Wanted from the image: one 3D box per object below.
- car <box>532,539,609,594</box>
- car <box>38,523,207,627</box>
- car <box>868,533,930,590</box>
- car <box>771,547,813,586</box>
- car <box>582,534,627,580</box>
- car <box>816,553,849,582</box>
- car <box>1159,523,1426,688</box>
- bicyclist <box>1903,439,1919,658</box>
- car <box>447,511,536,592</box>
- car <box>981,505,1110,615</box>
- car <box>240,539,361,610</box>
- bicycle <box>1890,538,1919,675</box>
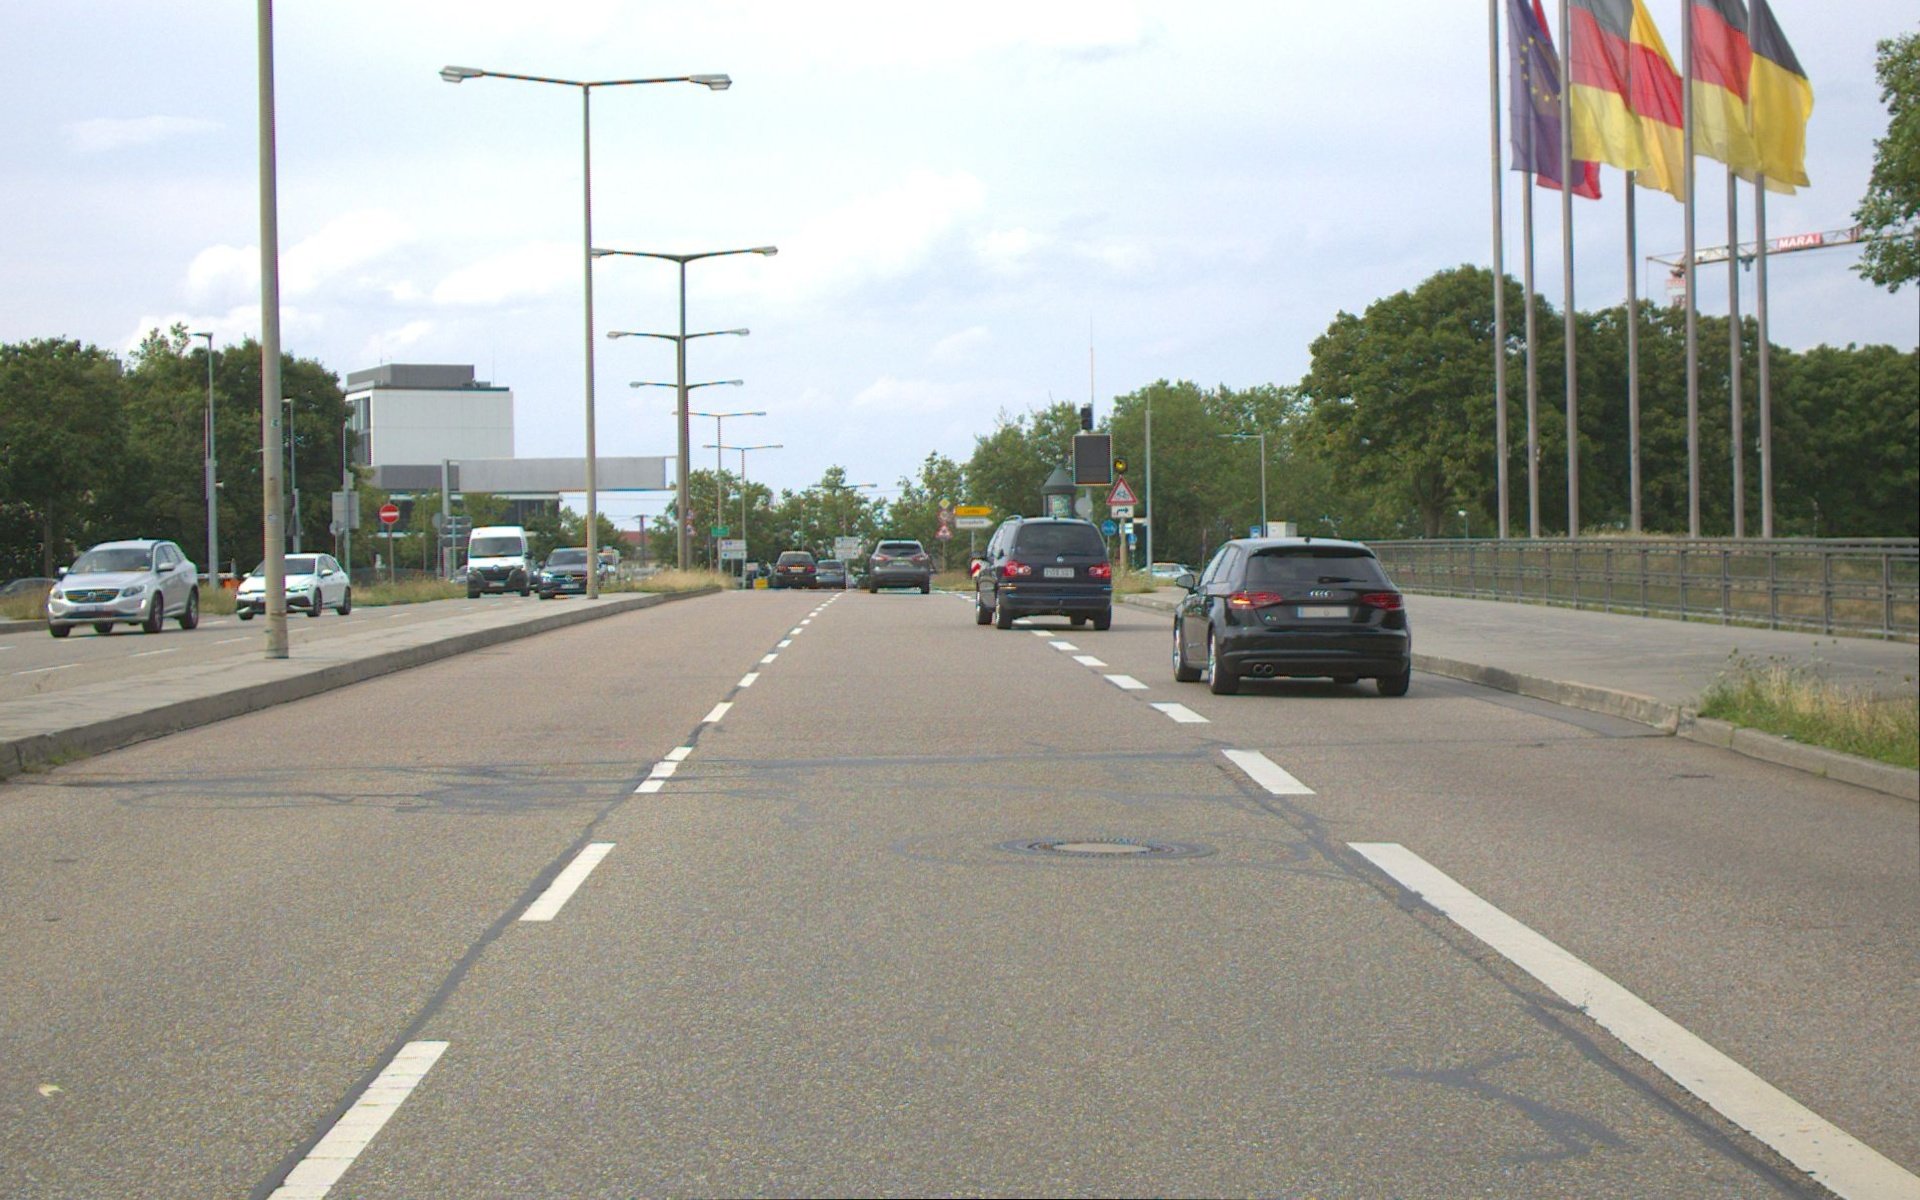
[{"bbox_3d":[-11.129,-0.936,98.500,1.738,1.475,4.776,-2,0,-2],"label":"car"},{"bbox_3d":[-15.035,-0.479,61.954,1.863,1.719,4.771,-2,1,-1],"label":"car"},{"bbox_3d":[-1.848,-1.149,103.075,1.730,1.647,4.115,0,0,-2],"label":"car"},{"bbox_3d":[-7.163,-1.435,146.965,1.730,1.647,4.115,0,0,-2],"label":"car"},{"bbox_3d":[-15.197,-1.863,147.079,1.540,1.864,3.570,-2,1,0],"label":"car"},{"bbox_3d":[-6.862,-1.752,184.592,1.730,1.521,4.115,0,0,-2],"label":"car"},{"bbox_3d":[2.966,0.024,31.455,1.730,1.390,4.115,-1,1,-4],"label":"car"},{"bbox_3d":[7.591,-0.387,25.946,0.664,1.653,0.805,1,2,-2],"label":"bicyclist"},{"bbox_3d":[-16.069,-1.700,118.233,2.053,2.634,6.400,-2,1,0],"label":"car"},{"bbox_3d":[1.290,-0.616,53.611,1.730,1.647,4.115,0,0,-2],"label":"car"},{"bbox_3d":[-14.918,-0.598,77.967,1.738,1.475,4.471,-2,1,1],"label":"car"},{"bbox_3d":[7.579,0.062,25.766,0.577,1.018,1.976,-3,2,-2],"label":"bicycle"}]
